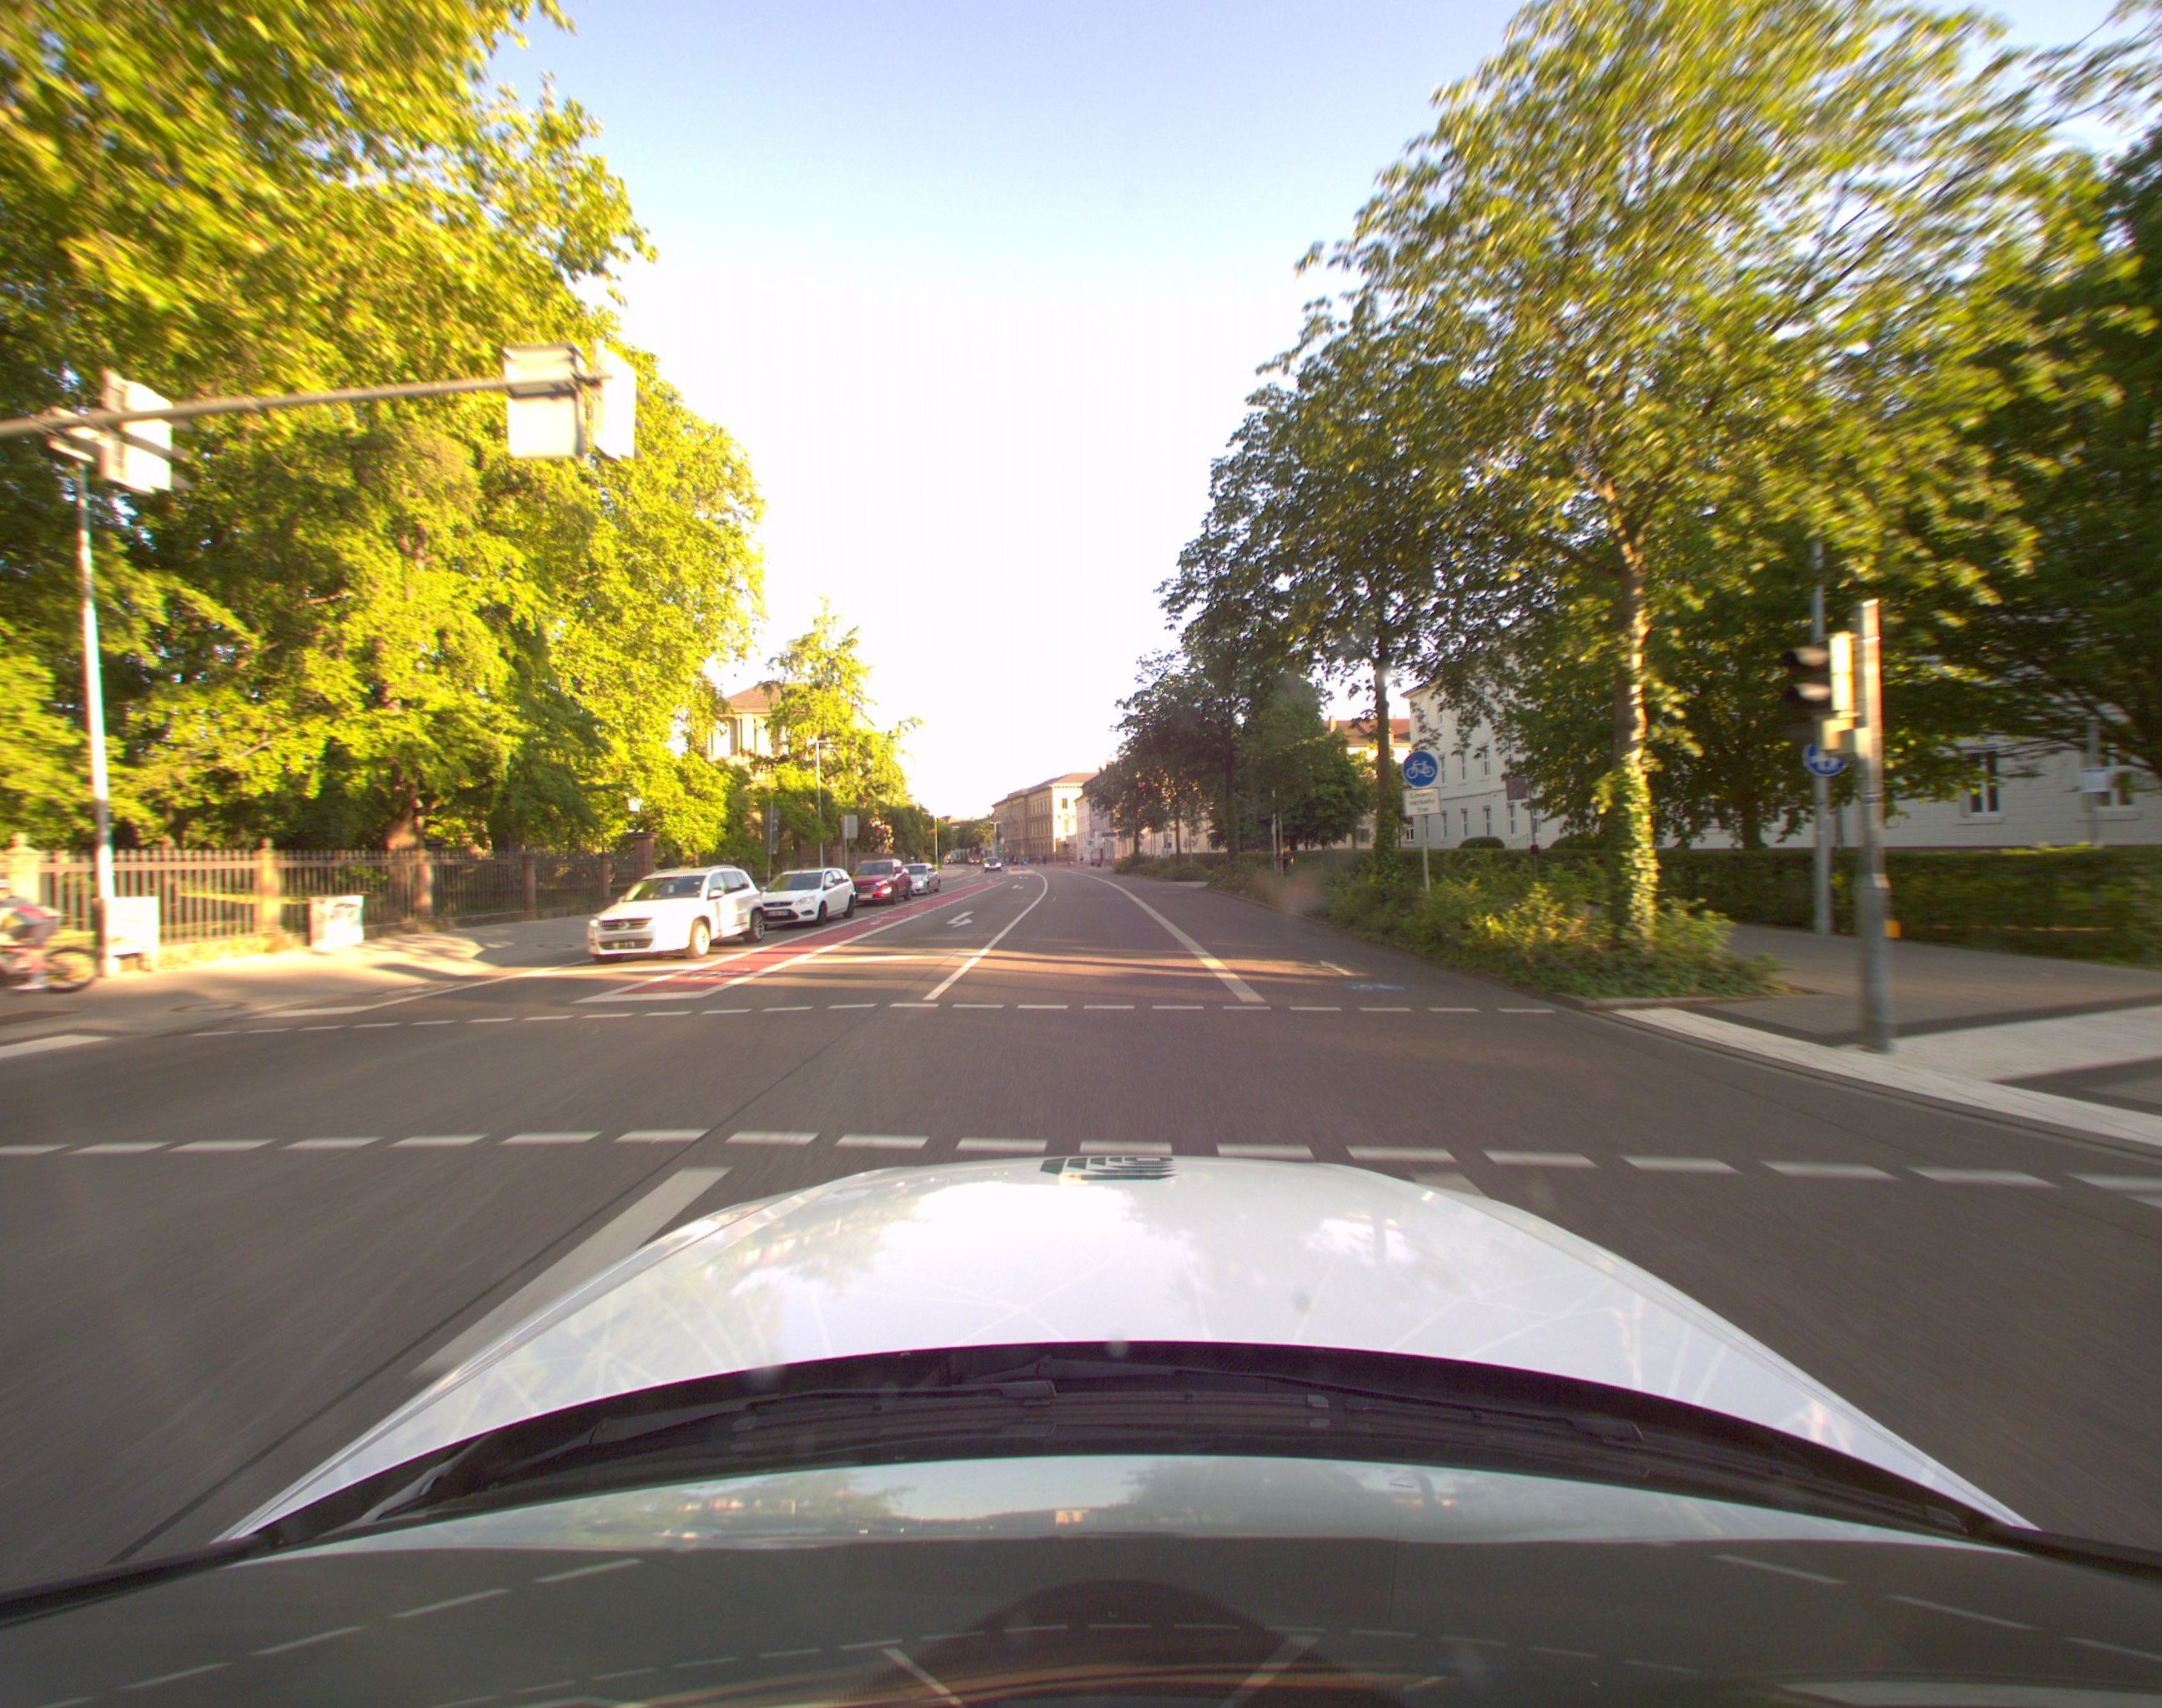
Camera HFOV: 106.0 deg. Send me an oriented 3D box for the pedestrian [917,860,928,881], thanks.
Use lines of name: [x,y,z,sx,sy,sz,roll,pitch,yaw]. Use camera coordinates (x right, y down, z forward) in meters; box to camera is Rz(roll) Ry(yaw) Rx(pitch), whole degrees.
pedestrian: [-12.831,1.324,66.115,0.677,1.622,0.689,-2,0,4]

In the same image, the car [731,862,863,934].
car: [-7.551,1.088,22.171,1.911,1.583,4.672,-3,0,-1]

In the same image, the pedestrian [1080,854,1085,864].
pedestrian: [0.228,0.830,137.099,0.759,1.755,0.845,-1,-1,0]

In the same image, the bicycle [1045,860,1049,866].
bicycle: [-5.577,1.469,133.032,0.650,1.015,2.196,1,0,-1]

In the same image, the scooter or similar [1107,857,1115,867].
scooter or similar: [4.087,1.076,110.350,0.629,1.337,2.392,-1,0,-10]

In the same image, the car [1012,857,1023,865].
car: [-11.337,1.256,145.986,1.863,1.510,3.996,-1,-1,-3]

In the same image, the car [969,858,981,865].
car: [-23.078,1.604,177.304,1.999,1.585,3.976,-1,0,-18]

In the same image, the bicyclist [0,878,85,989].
bicyclist: [-14.817,1.079,11.287,0.850,1.431,0.946,2,0,11]

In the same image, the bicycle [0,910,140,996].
bicycle: [-14.815,1.373,11.251,0.850,1.015,2.204,2,0,11]

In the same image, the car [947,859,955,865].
car: [-37.221,2.214,233.336,1.991,1.585,3.991,-1,0,-6]

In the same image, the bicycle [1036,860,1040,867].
bicycle: [-7.043,1.537,133.088,0.650,1.015,2.197,1,0,-1]

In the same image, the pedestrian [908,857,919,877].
pedestrian: [-13.675,1.082,66.395,0.678,1.622,0.689,-2,0,3]

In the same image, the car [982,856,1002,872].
car: [-9.509,1.078,86.809,1.848,1.526,3.987,-3,0,-9]

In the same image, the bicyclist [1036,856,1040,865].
bicyclist: [-7.031,1.092,133.060,0.650,1.446,0.879,1,0,-1]

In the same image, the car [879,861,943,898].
car: [-7.684,1.103,37.284,1.911,1.418,4.768,-4,0,-1]

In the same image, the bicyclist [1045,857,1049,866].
bicyclist: [-5.576,1.155,133.036,0.650,1.475,0.940,1,0,-2]

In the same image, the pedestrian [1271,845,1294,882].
pedestrian: [9.537,0.455,38.583,0.769,1.739,0.805,-2,0,-6]

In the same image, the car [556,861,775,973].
car: [-7.753,1.067,15.769,1.911,1.695,4.425,-3,0,-1]

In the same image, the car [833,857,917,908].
car: [-7.602,1.000,30.475,1.911,1.624,4.637,-3,0,-1]
